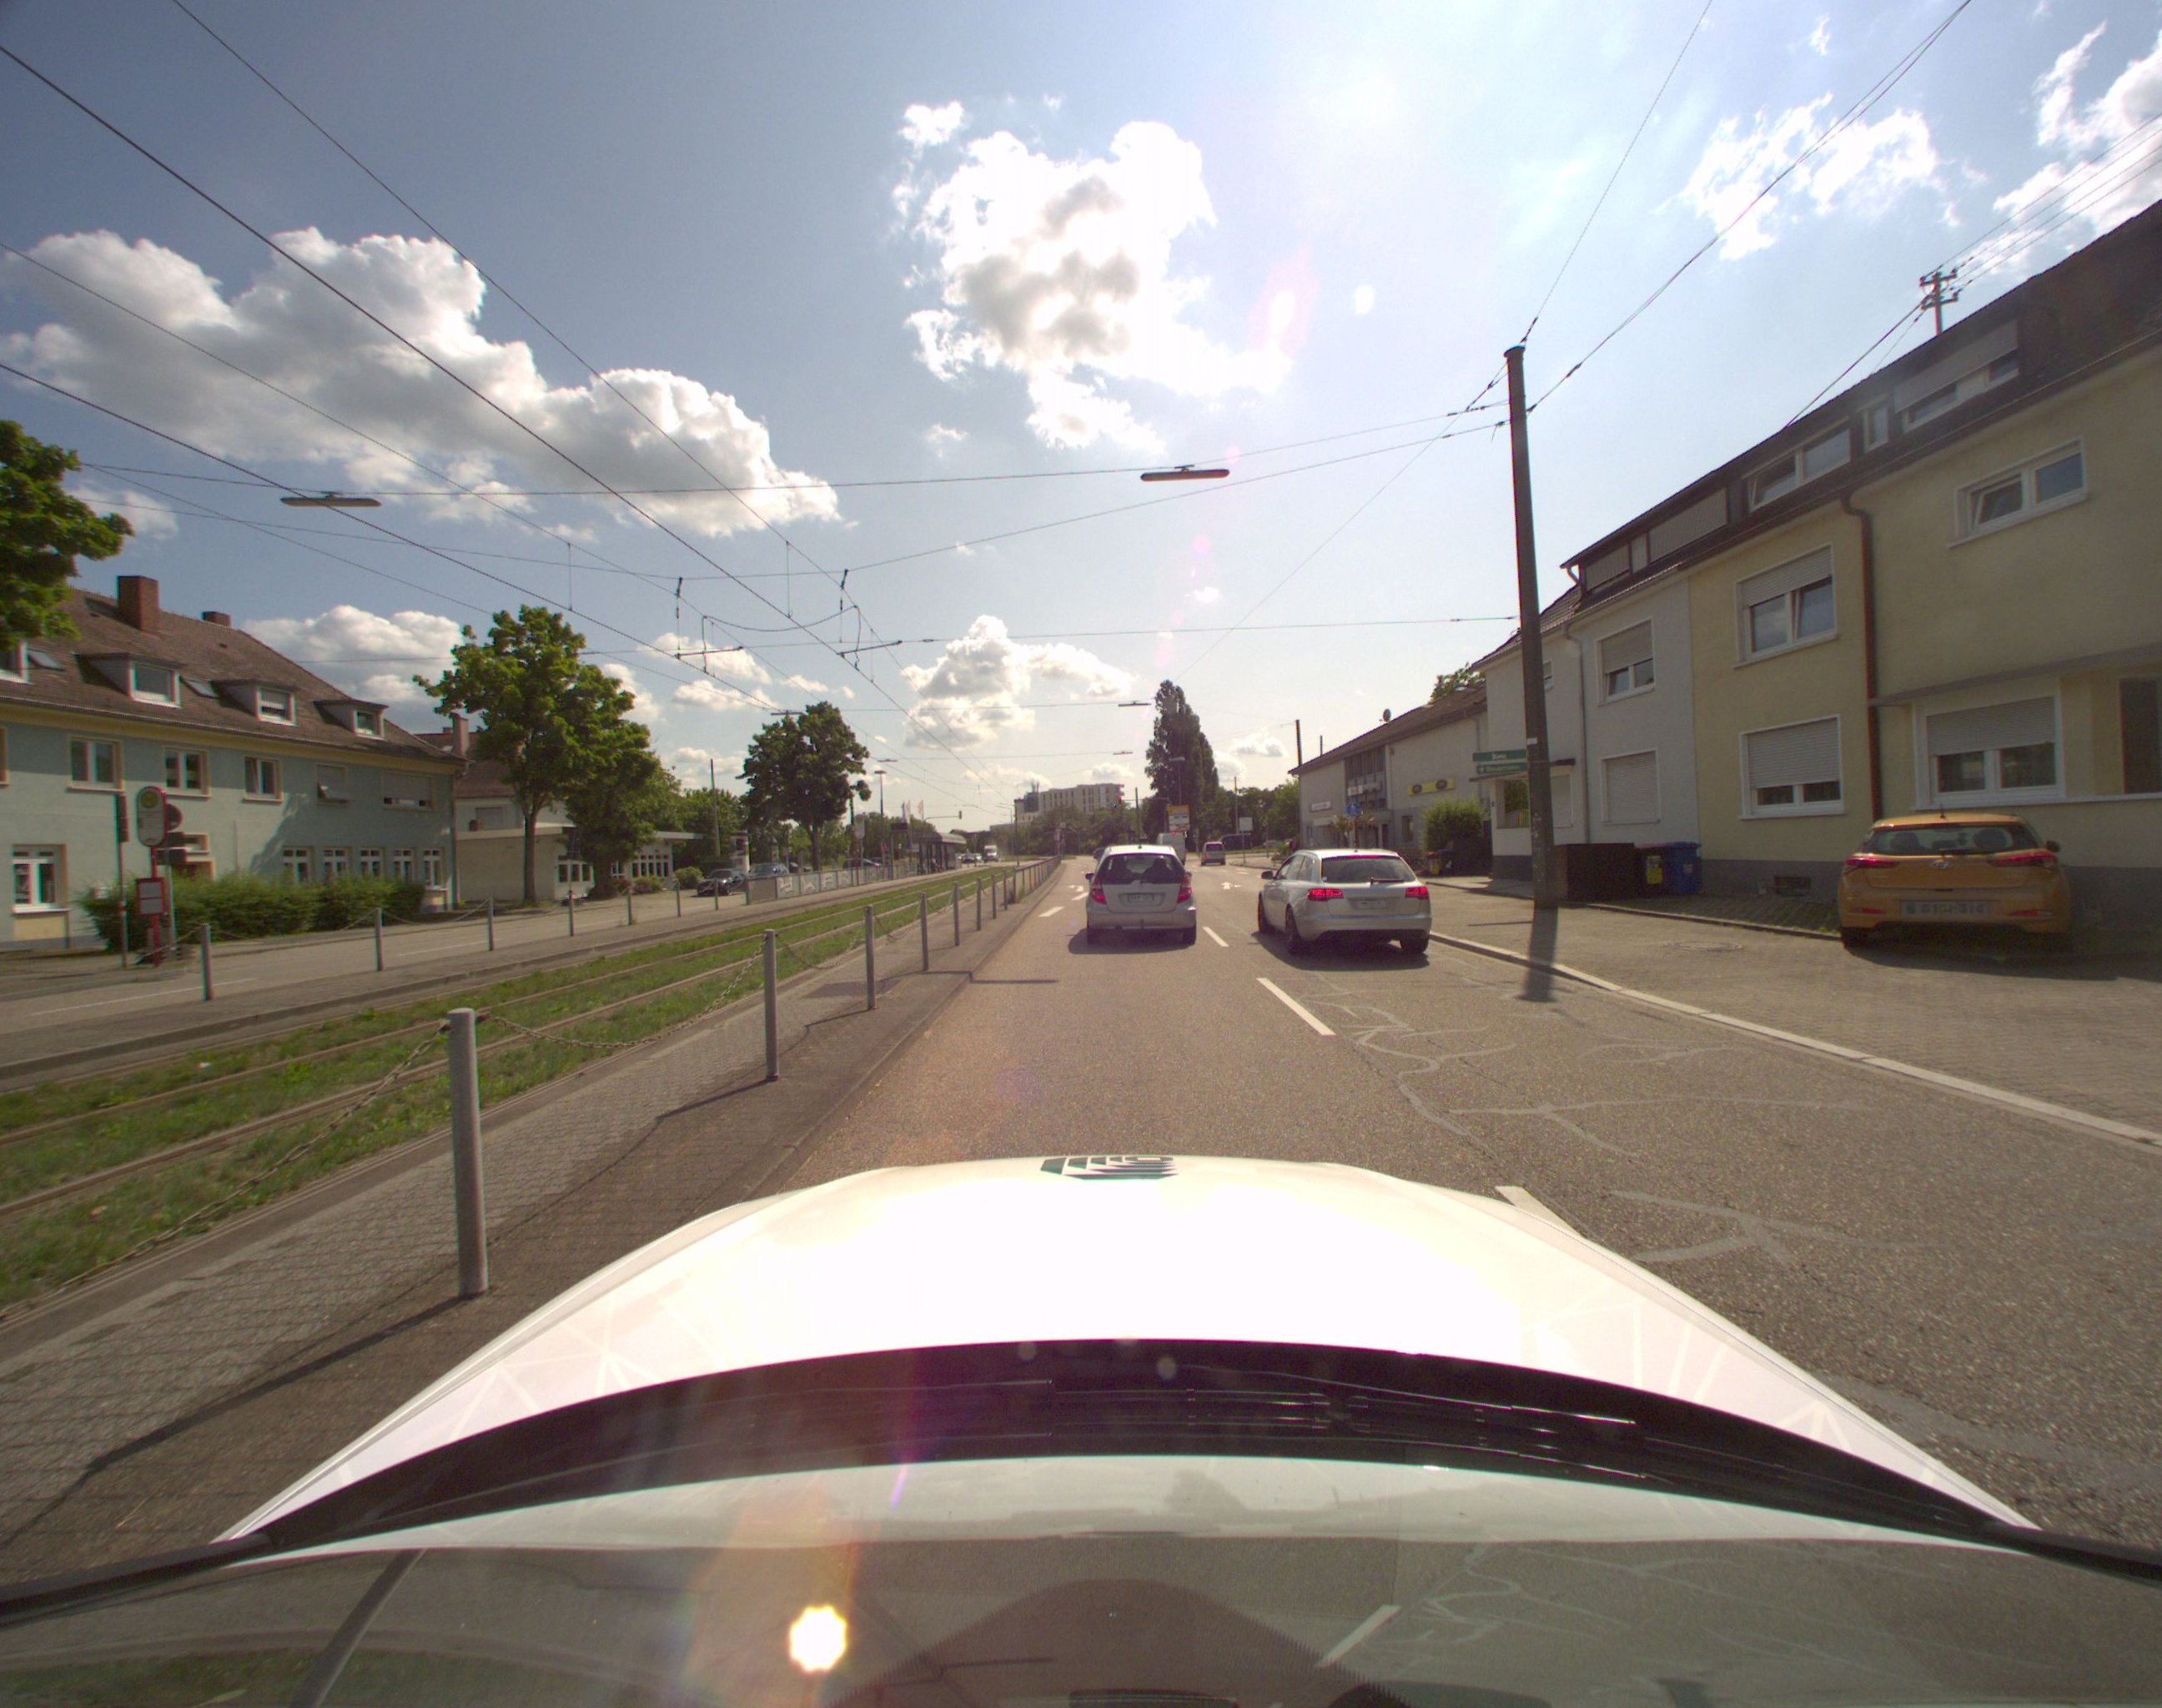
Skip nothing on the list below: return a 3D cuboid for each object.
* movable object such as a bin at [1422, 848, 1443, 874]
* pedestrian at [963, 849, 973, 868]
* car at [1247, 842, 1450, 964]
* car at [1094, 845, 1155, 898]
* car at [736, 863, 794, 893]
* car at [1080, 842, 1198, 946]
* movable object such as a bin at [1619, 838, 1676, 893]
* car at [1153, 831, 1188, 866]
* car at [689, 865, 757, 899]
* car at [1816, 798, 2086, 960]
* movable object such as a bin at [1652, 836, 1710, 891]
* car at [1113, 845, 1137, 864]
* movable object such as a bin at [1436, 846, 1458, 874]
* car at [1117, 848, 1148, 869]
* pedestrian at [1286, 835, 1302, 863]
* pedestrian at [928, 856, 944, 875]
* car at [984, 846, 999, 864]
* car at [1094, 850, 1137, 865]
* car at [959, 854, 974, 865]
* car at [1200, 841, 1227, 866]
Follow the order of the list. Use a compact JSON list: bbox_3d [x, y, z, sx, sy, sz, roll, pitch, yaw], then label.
[{"bbox_3d":[12.393,0.233,28.684,0.444,0.895,0.545,-3,0,-5],"label":"movable object such as a bin"},{"bbox_3d":[-10.799,0.439,78.013,0.808,1.795,0.706,-3,0,-12],"label":"pedestrian"},{"bbox_3d":[3.852,0.601,12.606,1.847,1.492,4.540,-2,0,3],"label":"car"},{"bbox_3d":[1.399,0.500,26.212,1.731,1.492,4.634,-2,0,3],"label":"car"},{"bbox_3d":[-19.633,1.429,50.801,2.057,1.614,4.744,-3,0,-6],"label":"car"},{"bbox_3d":[1.056,0.588,14.399,1.779,1.576,4.100,0,1,5],"label":"car"},{"bbox_3d":[11.275,0.226,16.231,0.636,1.047,0.685,-2,0,-1],"label":"movable object such as a bin"},{"bbox_3d":[7.050,-0.459,64.750,2.035,2.557,5.229,-2,0,-1],"label":"car"},{"bbox_3d":[-19.514,1.487,44.569,1.780,1.584,3.932,-2,0,2],"label":"car"},{"bbox_3d":[10.514,0.165,9.836,4.115,1.457,1.893,-5,2,-41],"label":"car"},{"bbox_3d":[11.976,0.175,16.279,0.643,1.055,0.659,-2,0,-1],"label":"movable object such as a bin"},{"bbox_3d":[3.749,0.029,69.672,1.739,1.499,4.378,-2,0,0],"label":"car"},{"bbox_3d":[12.895,0.201,28.691,0.440,0.935,0.549,-3,0,-5],"label":"movable object such as a bin"},{"bbox_3d":[3.616,0.303,57.959,1.864,1.419,4.099,-1,0,0],"label":"car"},{"bbox_3d":[13.815,-0.335,52.741,0.719,1.782,0.703,-5,0,2],"label":"pedestrian"},{"bbox_3d":[-10.788,0.823,60.658,1.055,1.376,0.860,-1,0,-1],"label":"pedestrian"},{"bbox_3d":[-13.512,0.086,123.153,1.989,2.606,4.874,-1,0,-3],"label":"car"},{"bbox_3d":[3.972,0.378,93.578,4.843,1.660,2.001,-1,0,2],"label":"car"},{"bbox_3d":[-17.167,0.797,122.277,1.893,1.541,3.724,-1,0,-4],"label":"car"},{"bbox_3d":[10.273,-0.029,63.426,1.874,1.731,4.104,-3,-1,8],"label":"car"}]
